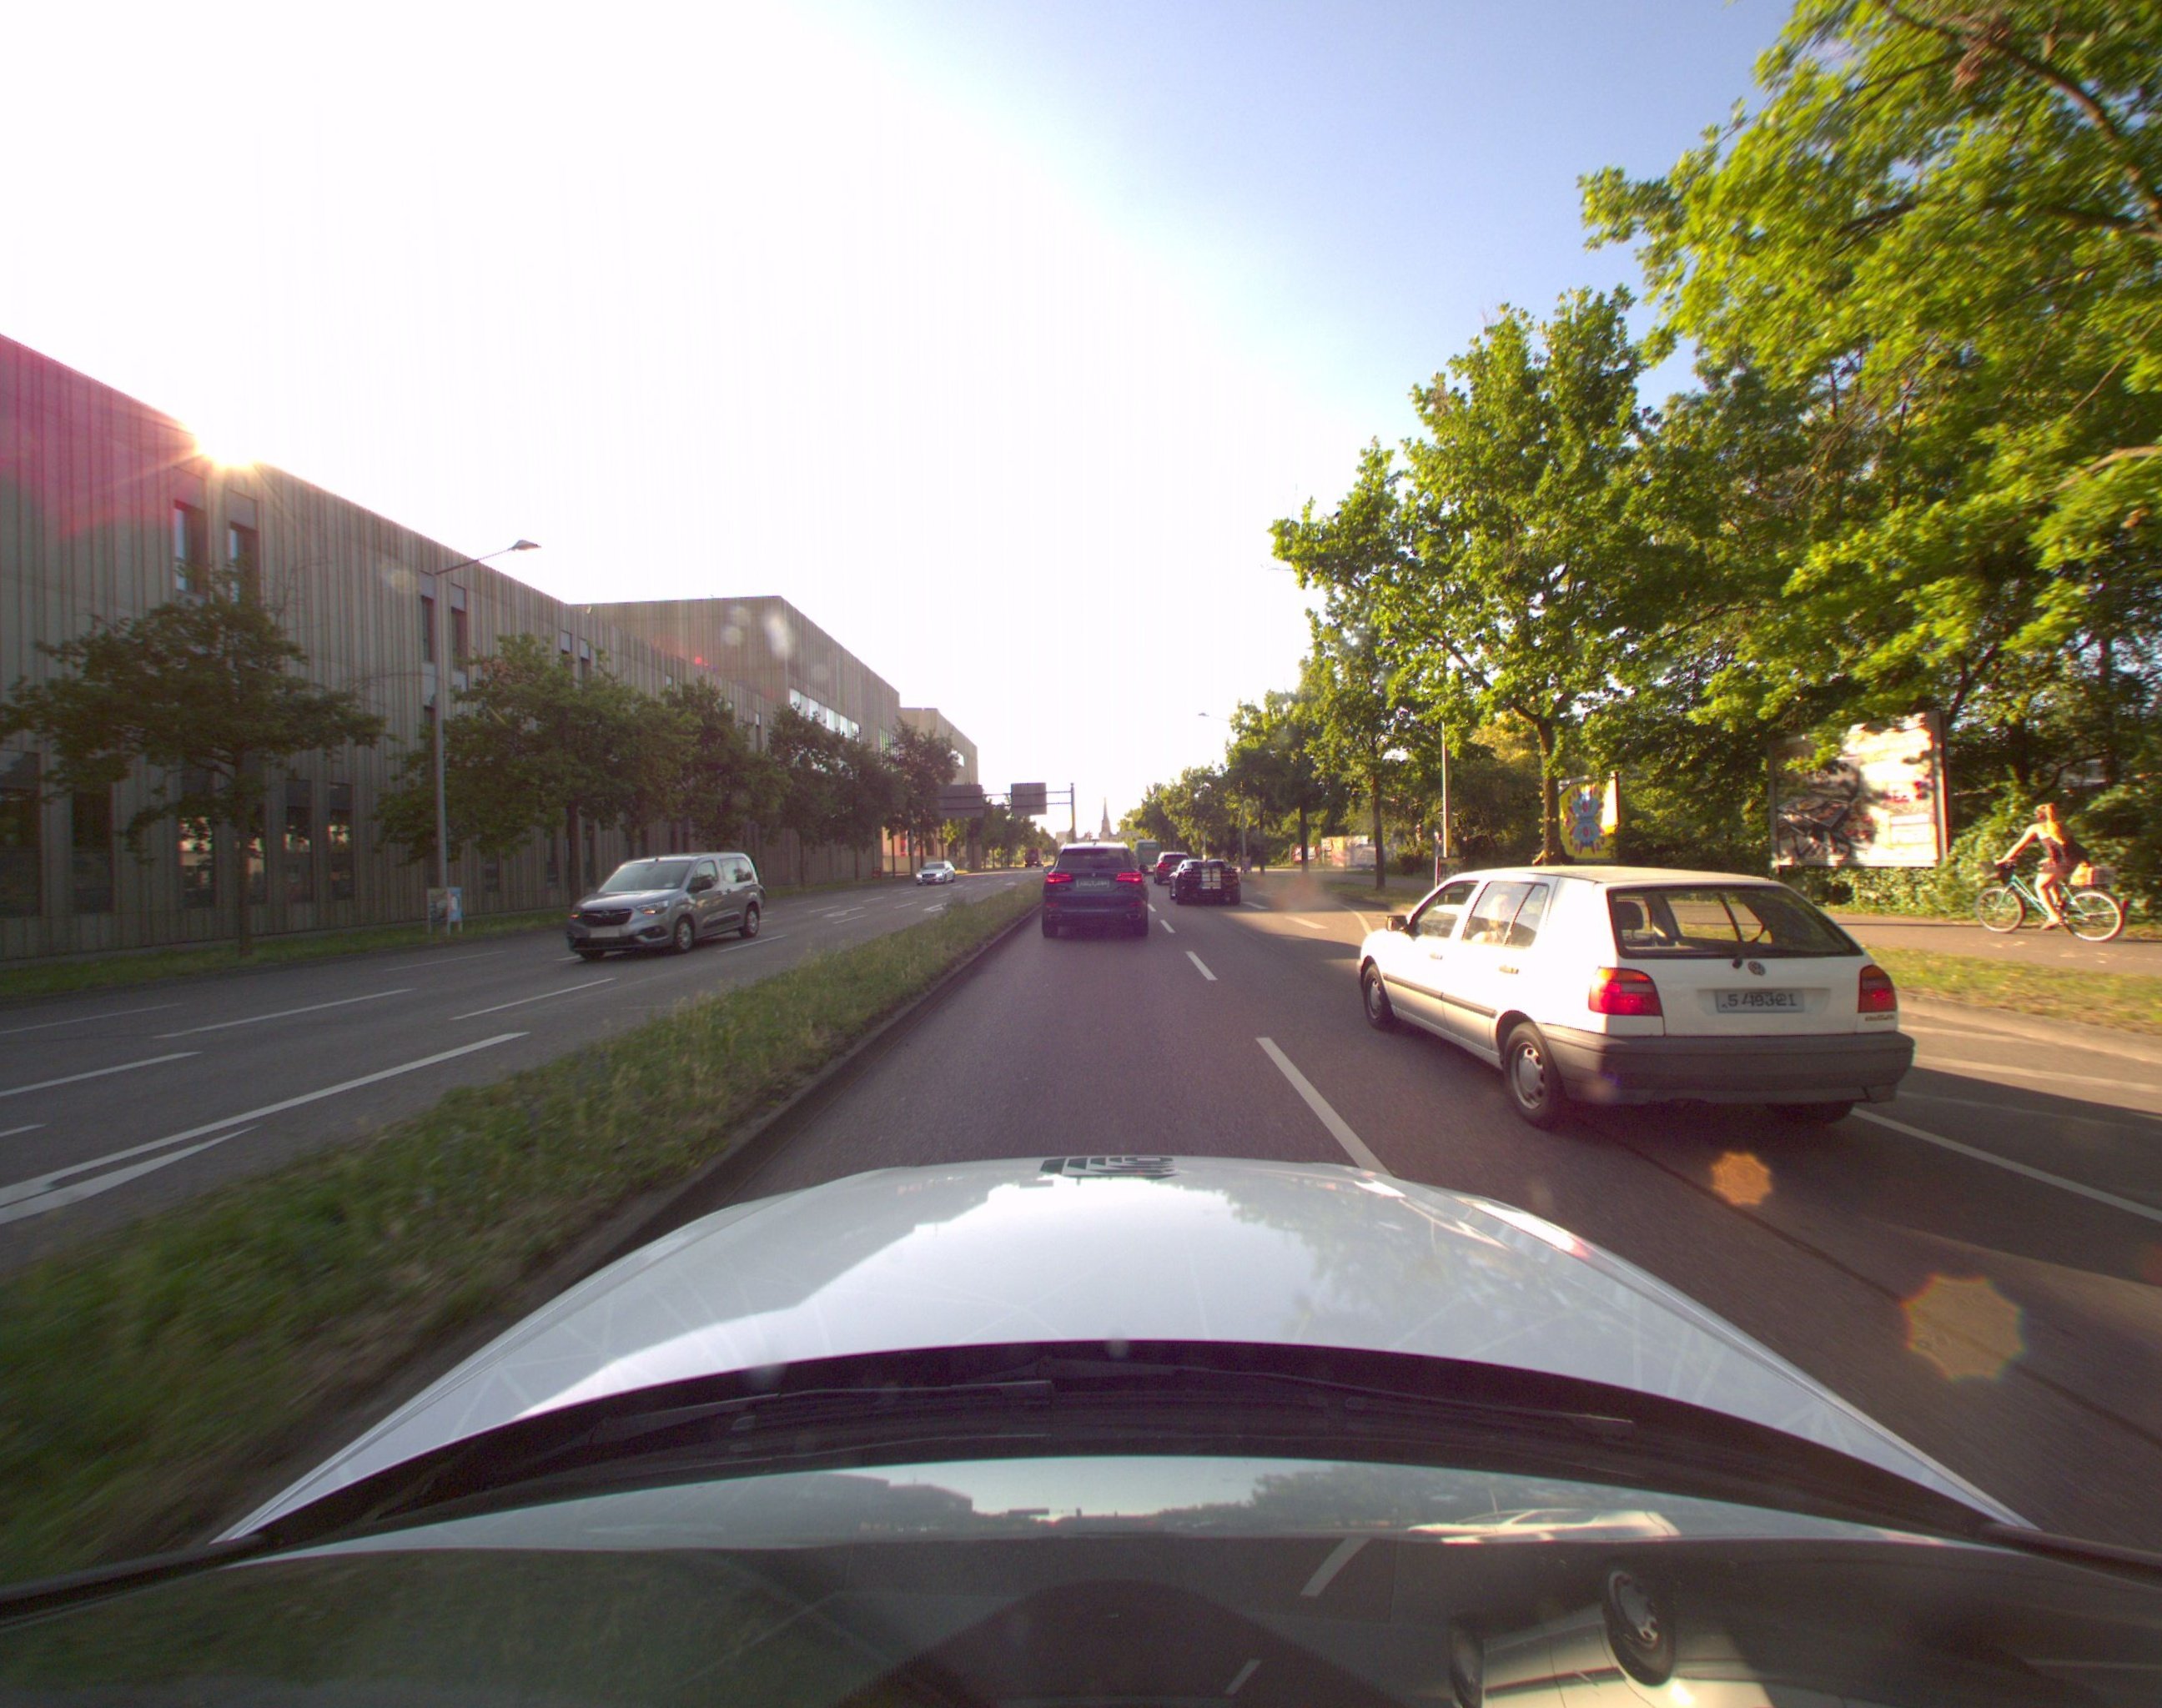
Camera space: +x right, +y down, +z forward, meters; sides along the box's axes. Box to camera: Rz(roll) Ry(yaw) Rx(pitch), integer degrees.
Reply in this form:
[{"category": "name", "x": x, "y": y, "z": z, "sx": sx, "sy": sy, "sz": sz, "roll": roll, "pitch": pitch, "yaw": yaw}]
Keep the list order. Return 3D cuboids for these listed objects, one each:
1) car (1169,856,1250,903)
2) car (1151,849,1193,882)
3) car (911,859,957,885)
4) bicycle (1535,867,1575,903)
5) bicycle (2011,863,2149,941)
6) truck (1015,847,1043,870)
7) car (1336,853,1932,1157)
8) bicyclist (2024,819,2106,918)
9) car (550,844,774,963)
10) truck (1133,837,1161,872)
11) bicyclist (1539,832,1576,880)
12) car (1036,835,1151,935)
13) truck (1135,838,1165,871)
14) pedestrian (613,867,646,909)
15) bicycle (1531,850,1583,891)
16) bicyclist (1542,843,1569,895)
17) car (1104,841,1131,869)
[{"category": "car", "x": 3.826, "y": 0.761, "z": 24.914, "sx": 1.986, "sy": 1.295, "sz": 4.001, "roll": 0, "pitch": -1, "yaw": 2}, {"category": "car", "x": 4.480, "y": 0.592, "z": 40.519, "sx": 1.789, "sy": 1.559, "sz": 4.001, "roll": 0, "pitch": -1, "yaw": 2}, {"category": "car", "x": -9.574, "y": 1.205, "z": 53.480, "sx": 1.987, "sy": 1.452, "sz": 4.714, "roll": -5, "pitch": -1, "yaw": 0}, {"category": "bicycle", "x": 12.175, "y": 0.793, "z": 20.934, "sx": 0.436, "sy": 0.914, "sz": 1.027, "roll": 0, "pitch": -1, "yaw": 2}, {"category": "bicycle", "x": 12.590, "y": 0.592, "z": 10.300, "sx": 0.436, "sy": 0.914, "sz": 1.027, "roll": -3, "pitch": -1, "yaw": 2}, {"category": "truck", "x": -9.810, "y": 0.947, "z": 155.098, "sx": 3.972, "sy": 4.088, "sz": 11.457, "roll": 0, "pitch": -1, "yaw": 3}, {"category": "car", "x": 3.236, "y": 0.751, "z": 5.869, "sx": 1.573, "sy": 1.413, "sz": 4.062, "roll": 0, "pitch": -1, "yaw": 1}, {"category": "bicyclist", "x": 12.591, "y": 0.187, "z": 10.432, "sx": 0.426, "sy": 1.233, "sz": 0.460, "roll": -2, "pitch": -2, "yaw": 2}, {"category": "car", "x": -7.669, "y": 0.855, "z": 15.498, "sx": 1.750, "sy": 1.777, "sz": 4.494, "roll": -5, "pitch": -1, "yaw": 1}, {"category": "truck", "x": 5.187, "y": 0.047, "z": 64.490, "sx": 1.988, "sy": 2.669, "sz": 4.001, "roll": 0, "pitch": -1, "yaw": 2}, {"category": "bicyclist", "x": 13.512, "y": 0.066, "z": 23.119, "sx": 0.541, "sy": 1.316, "sz": 0.835, "roll": 0, "pitch": -1, "yaw": 2}, {"category": "car", "x": 0.297, "y": 0.589, "z": 16.447, "sx": 1.986, "sy": 1.734, "sz": 4.534, "roll": 0, "pitch": -1, "yaw": 2}, {"category": "truck", "x": 5.018, "y": 0.093, "z": 59.798, "sx": 1.988, "sy": 2.315, "sz": 4.001, "roll": 0, "pitch": -1, "yaw": 2}, {"category": "pedestrian", "x": -21.730, "y": 1.633, "z": 39.189, "sx": 1.014, "sy": 2.014, "sz": 0.962, "roll": 0, "pitch": -1, "yaw": 2}, {"category": "bicycle", "x": 13.501, "y": 0.471, "z": 23.149, "sx": 0.562, "sy": 1.112, "sz": 1.622, "roll": 0, "pitch": -1, "yaw": 2}, {"category": "bicyclist", "x": 12.178, "y": 0.388, "z": 20.906, "sx": 0.426, "sy": 1.309, "sz": 0.460, "roll": 0, "pitch": -1, "yaw": 2}, {"category": "car", "x": 3.454, "y": 0.155, "z": 78.147, "sx": 2.132, "sy": 2.576, "sz": 5.080, "roll": 0, "pitch": -1, "yaw": -3}]
